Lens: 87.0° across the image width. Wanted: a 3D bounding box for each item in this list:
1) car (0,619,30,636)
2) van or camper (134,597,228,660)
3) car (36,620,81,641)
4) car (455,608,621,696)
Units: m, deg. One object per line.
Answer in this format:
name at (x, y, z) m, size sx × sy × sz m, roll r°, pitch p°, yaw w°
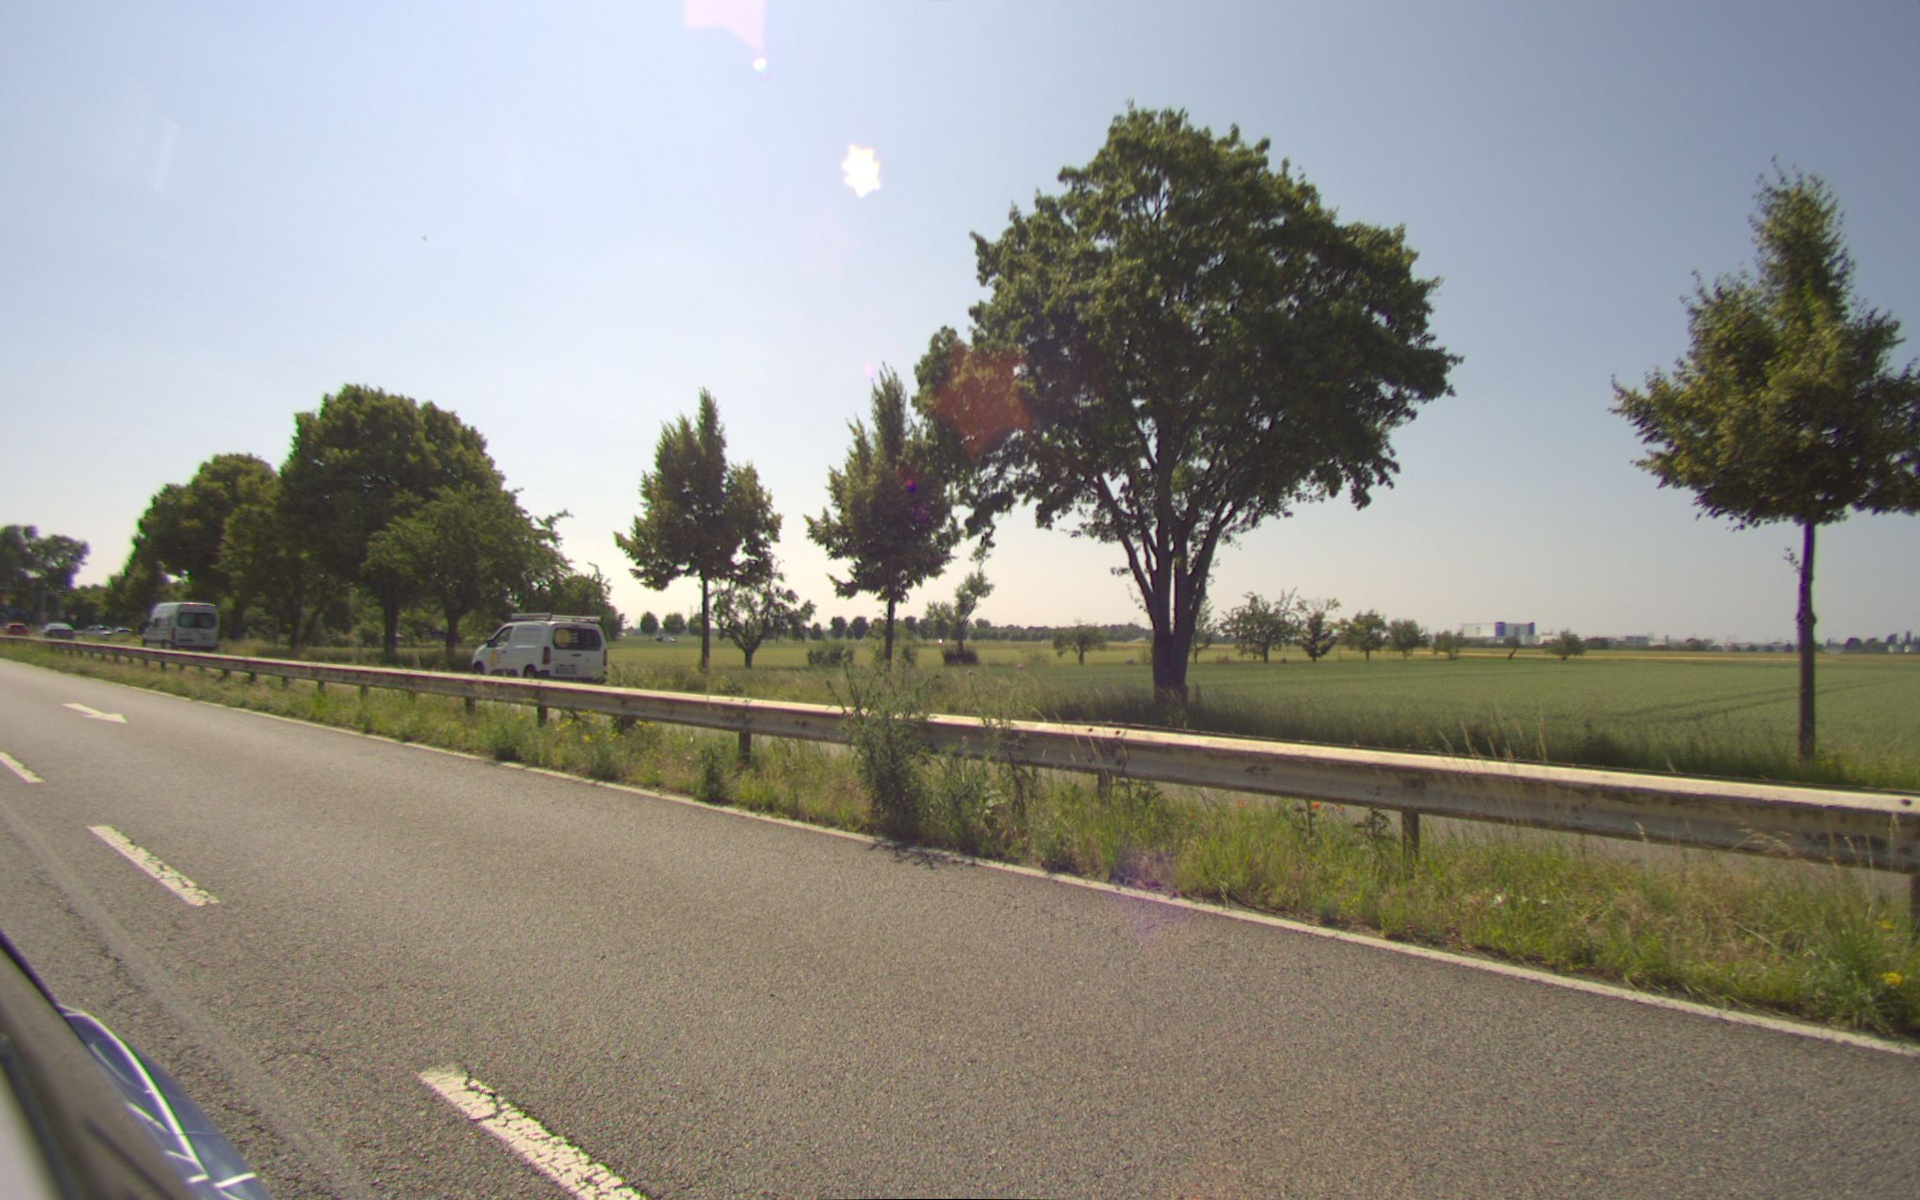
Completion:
car at (-91.588, 2.687, 98.048) m, size 3.892 × 1.603 × 1.742 m, roll -1°, pitch -3°, yaw 40°
van or camper at (-39.580, 1.444, 51.321) m, size 7.088 × 2.971 × 2.360 m, roll -1°, pitch -3°, yaw 41°
car at (-71.340, 2.374, 80.056) m, size 4.862 × 1.603 × 1.935 m, roll -1°, pitch -3°, yaw 40°
car at (-10.754, 1.269, 25.671) m, size 4.529 × 2.029 × 2.017 m, roll -1°, pitch -3°, yaw 41°
